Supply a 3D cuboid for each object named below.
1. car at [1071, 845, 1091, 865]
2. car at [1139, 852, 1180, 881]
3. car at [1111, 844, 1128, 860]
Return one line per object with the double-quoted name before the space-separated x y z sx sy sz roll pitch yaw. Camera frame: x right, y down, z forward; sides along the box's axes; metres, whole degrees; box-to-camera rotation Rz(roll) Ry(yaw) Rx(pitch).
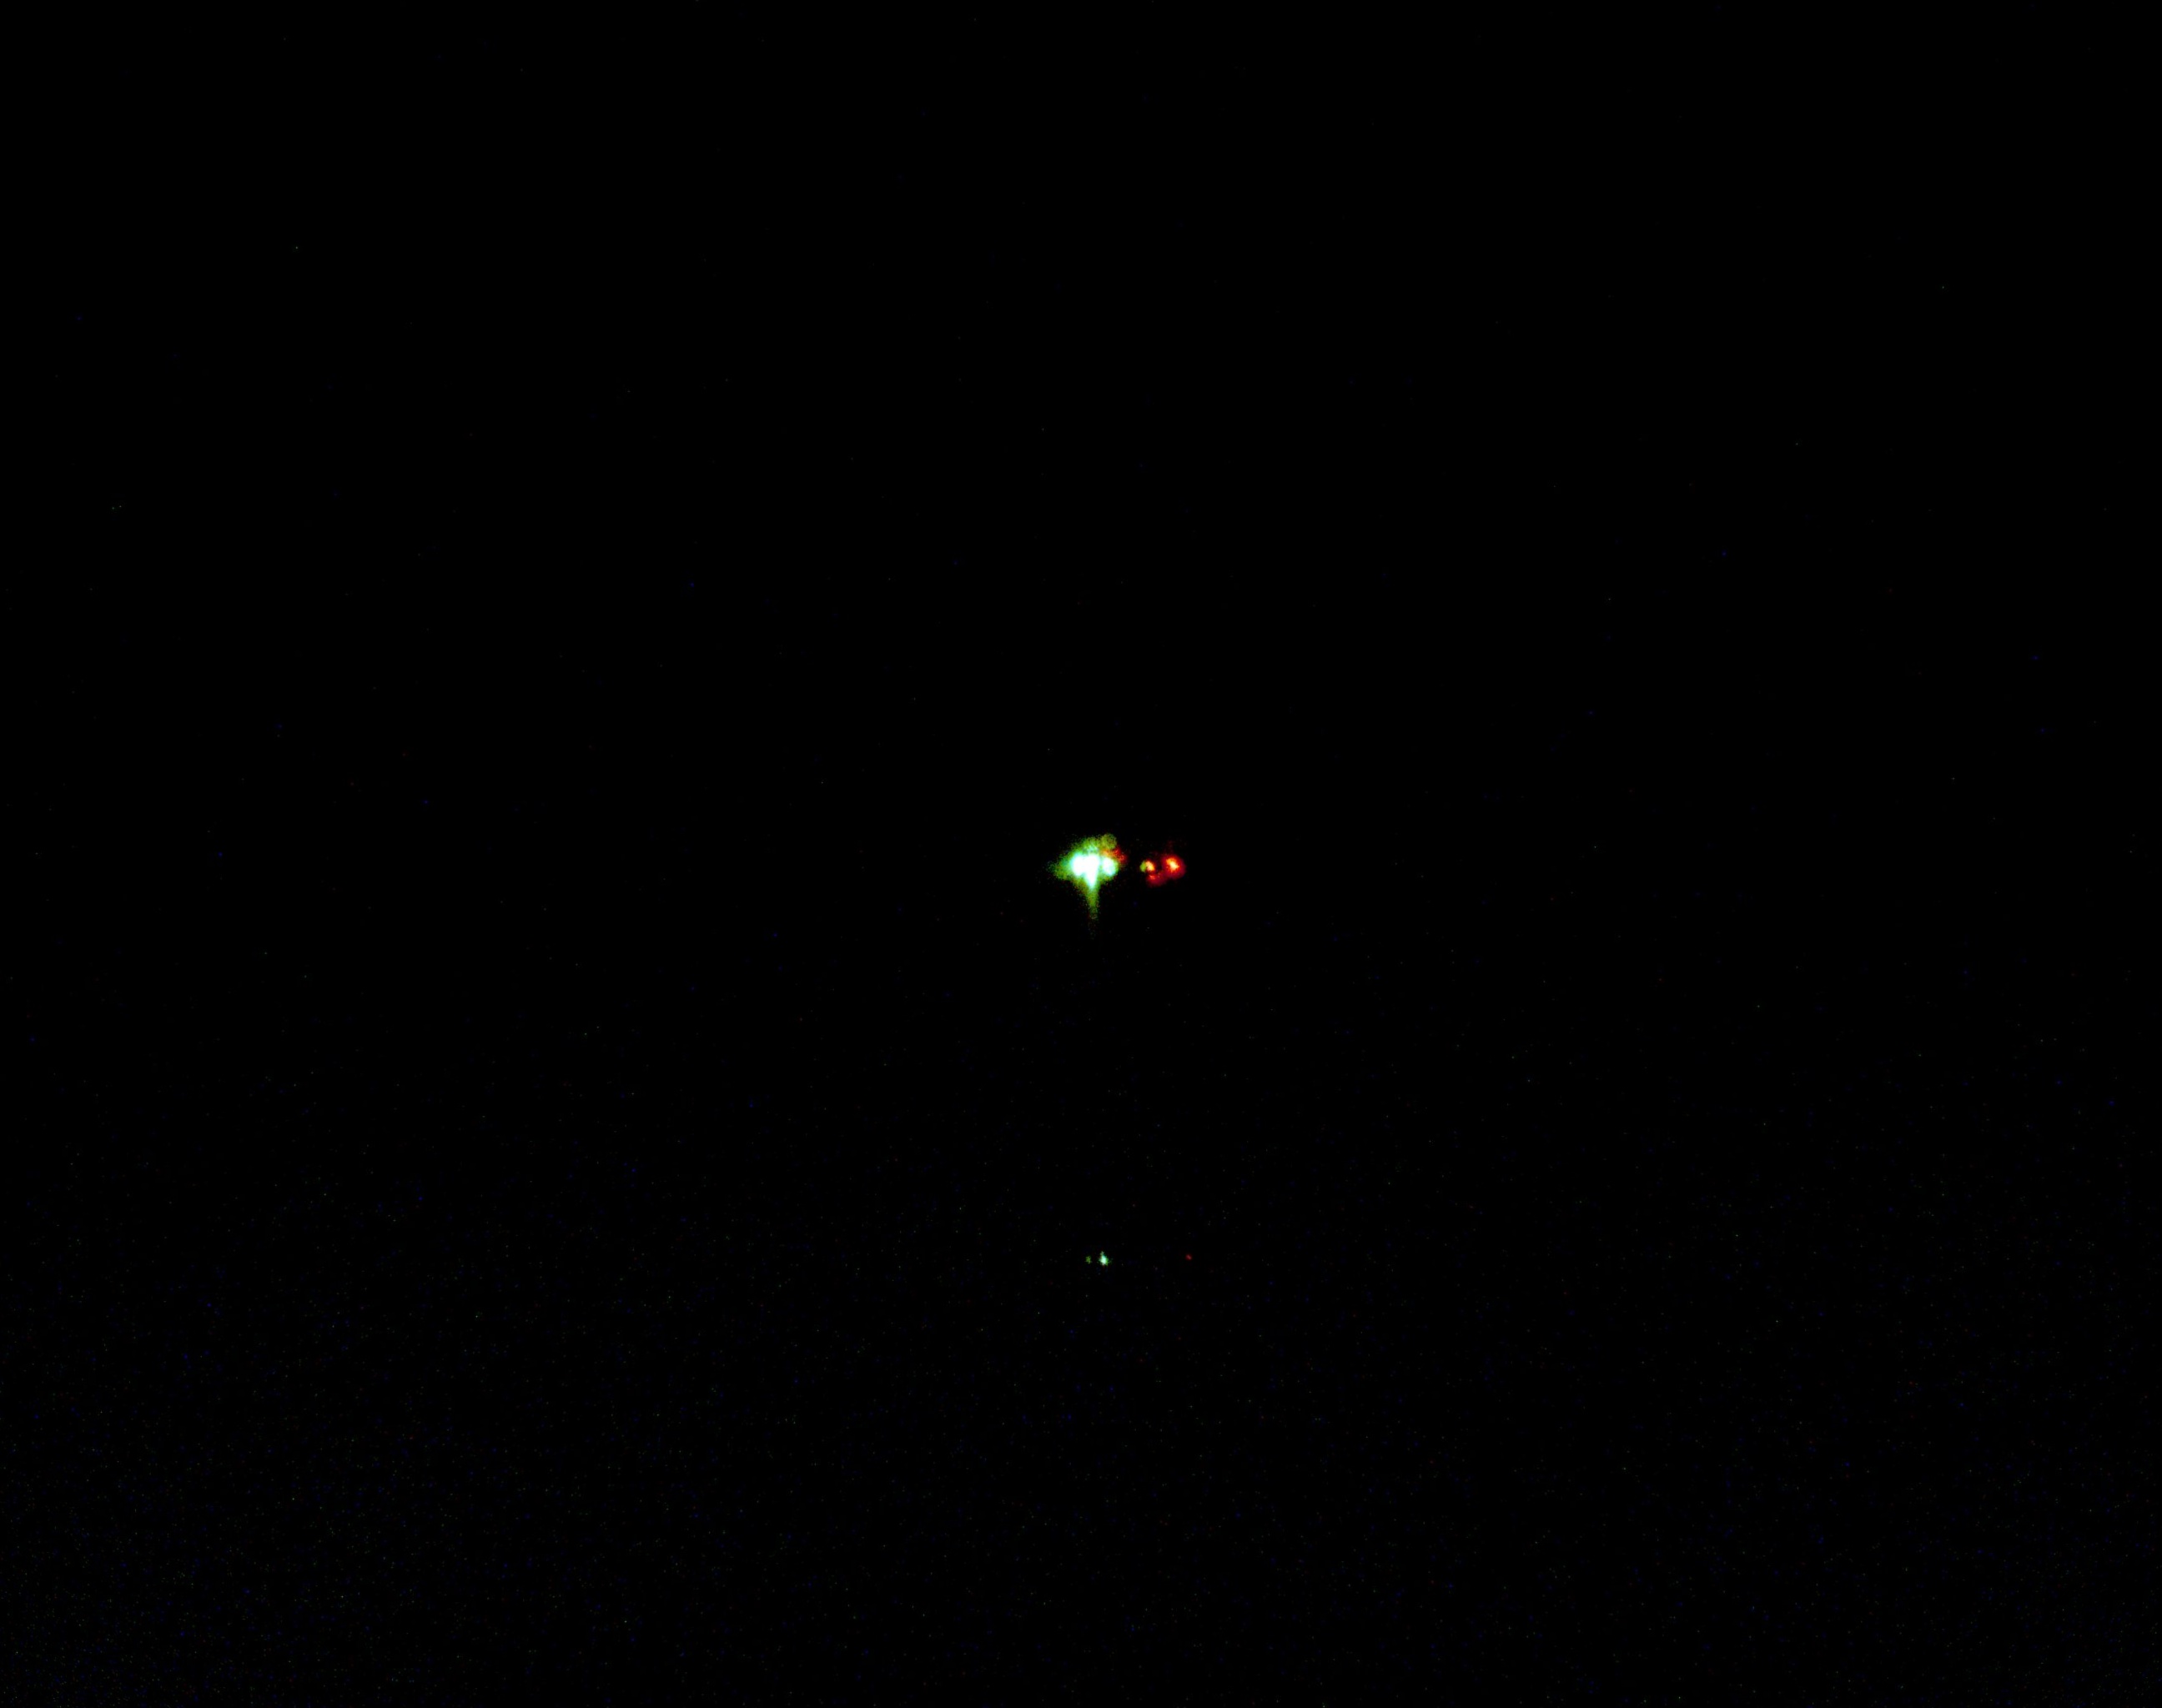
"car" 0.055 0.111 80.475 1.998 2.002 4.000 -2 1 1
"car" 4.611 0.688 45.290 1.998 1.540 3.999 -3 1 1
"car" 5.194 -0.328 102.755 1.998 2.002 4.000 -2 1 1
